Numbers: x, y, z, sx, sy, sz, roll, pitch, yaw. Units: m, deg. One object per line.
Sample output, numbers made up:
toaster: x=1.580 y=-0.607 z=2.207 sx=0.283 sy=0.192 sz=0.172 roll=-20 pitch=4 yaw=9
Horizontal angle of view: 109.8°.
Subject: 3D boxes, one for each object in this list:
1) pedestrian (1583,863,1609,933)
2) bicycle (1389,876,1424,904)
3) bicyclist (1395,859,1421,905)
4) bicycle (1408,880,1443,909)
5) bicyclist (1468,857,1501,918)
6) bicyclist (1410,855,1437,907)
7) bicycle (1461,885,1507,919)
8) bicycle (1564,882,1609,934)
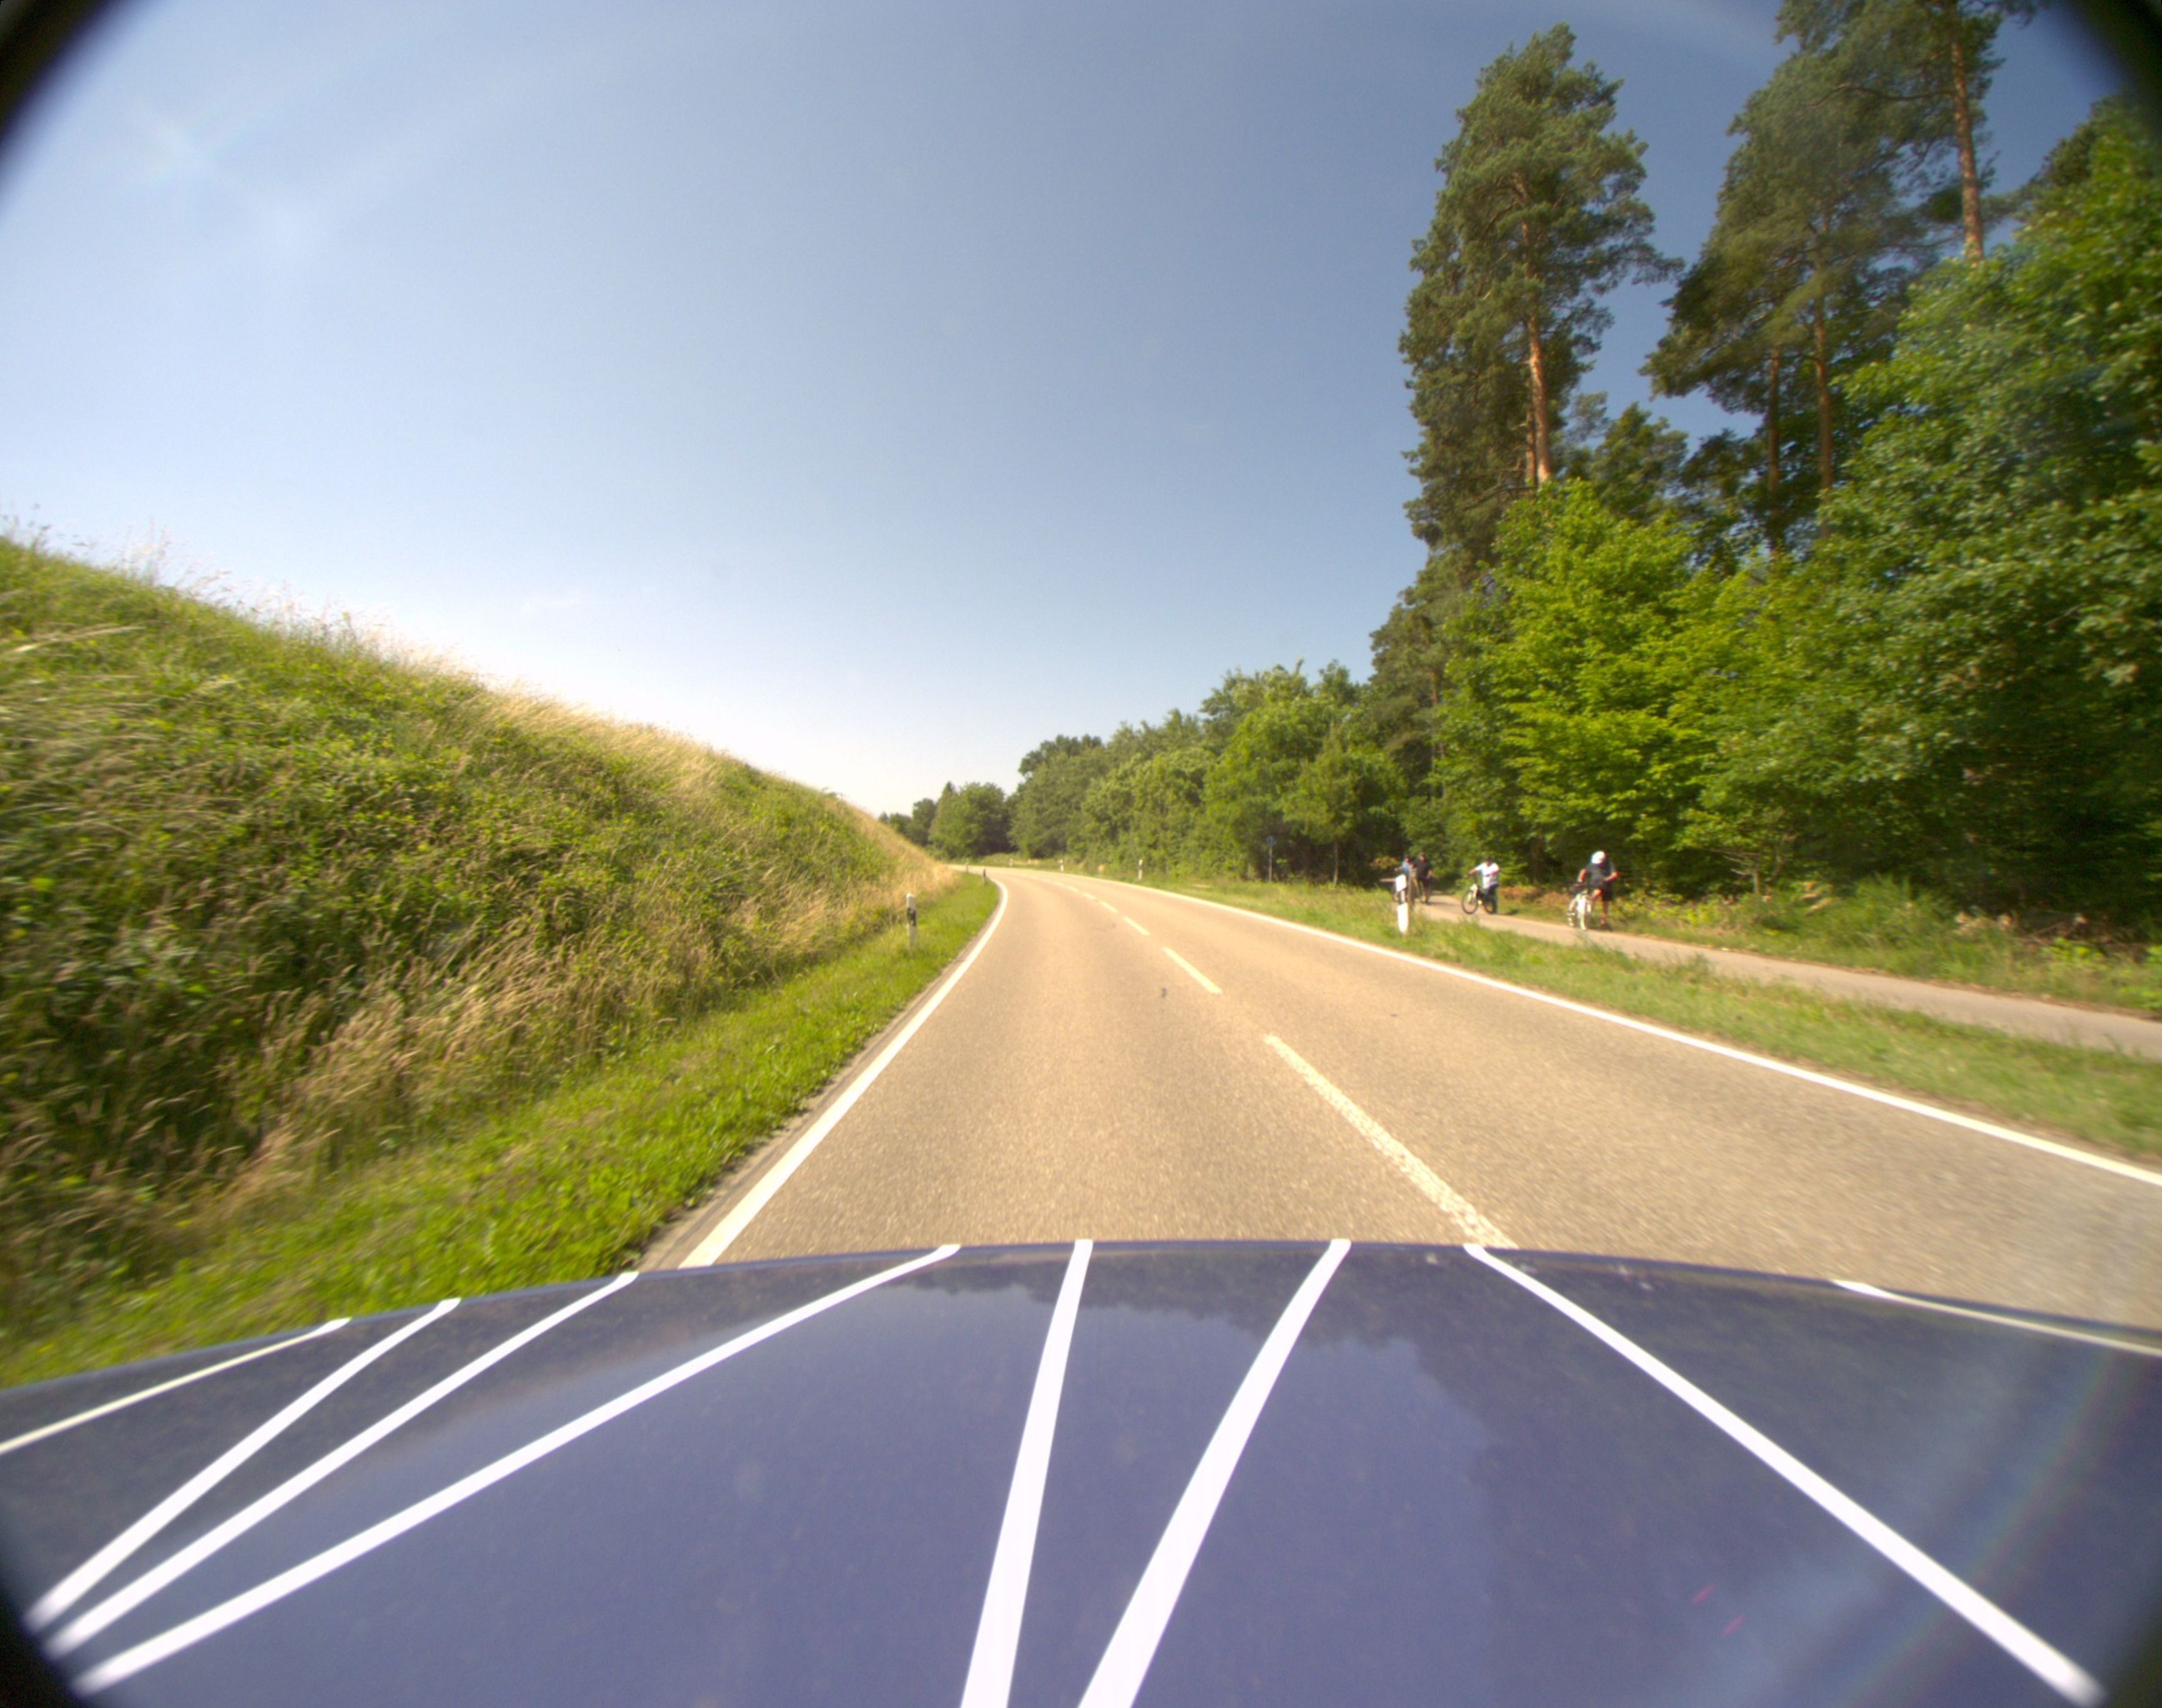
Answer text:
pedestrian: x=11.495 y=0.975 z=16.961 sx=0.285 sy=1.529 sz=0.390 roll=0 pitch=1 yaw=-10
bicycle: x=11.331 y=1.225 z=26.410 sx=0.604 sy=0.825 sz=1.989 roll=0 pitch=2 yaw=39
bicyclist: x=11.384 y=0.954 z=26.474 sx=0.604 sy=1.536 sz=0.873 roll=0 pitch=2 yaw=39
bicycle: x=11.708 y=1.358 z=25.813 sx=0.604 sy=0.825 sz=1.989 roll=0 pitch=2 yaw=39
bicyclist: x=11.644 y=0.947 z=21.932 sx=0.791 sy=1.709 sz=0.604 roll=-3 pitch=2 yaw=-44
bicyclist: x=11.562 y=0.903 z=25.645 sx=0.604 sy=1.691 sz=0.852 roll=0 pitch=2 yaw=39
bicycle: x=11.642 y=1.366 z=21.923 sx=1.989 sy=0.825 sz=0.604 roll=-3 pitch=2 yaw=-44
bicycle: x=11.405 y=1.196 z=17.170 sx=0.581 sy=1.080 sz=1.450 roll=-2 pitch=-1 yaw=24
